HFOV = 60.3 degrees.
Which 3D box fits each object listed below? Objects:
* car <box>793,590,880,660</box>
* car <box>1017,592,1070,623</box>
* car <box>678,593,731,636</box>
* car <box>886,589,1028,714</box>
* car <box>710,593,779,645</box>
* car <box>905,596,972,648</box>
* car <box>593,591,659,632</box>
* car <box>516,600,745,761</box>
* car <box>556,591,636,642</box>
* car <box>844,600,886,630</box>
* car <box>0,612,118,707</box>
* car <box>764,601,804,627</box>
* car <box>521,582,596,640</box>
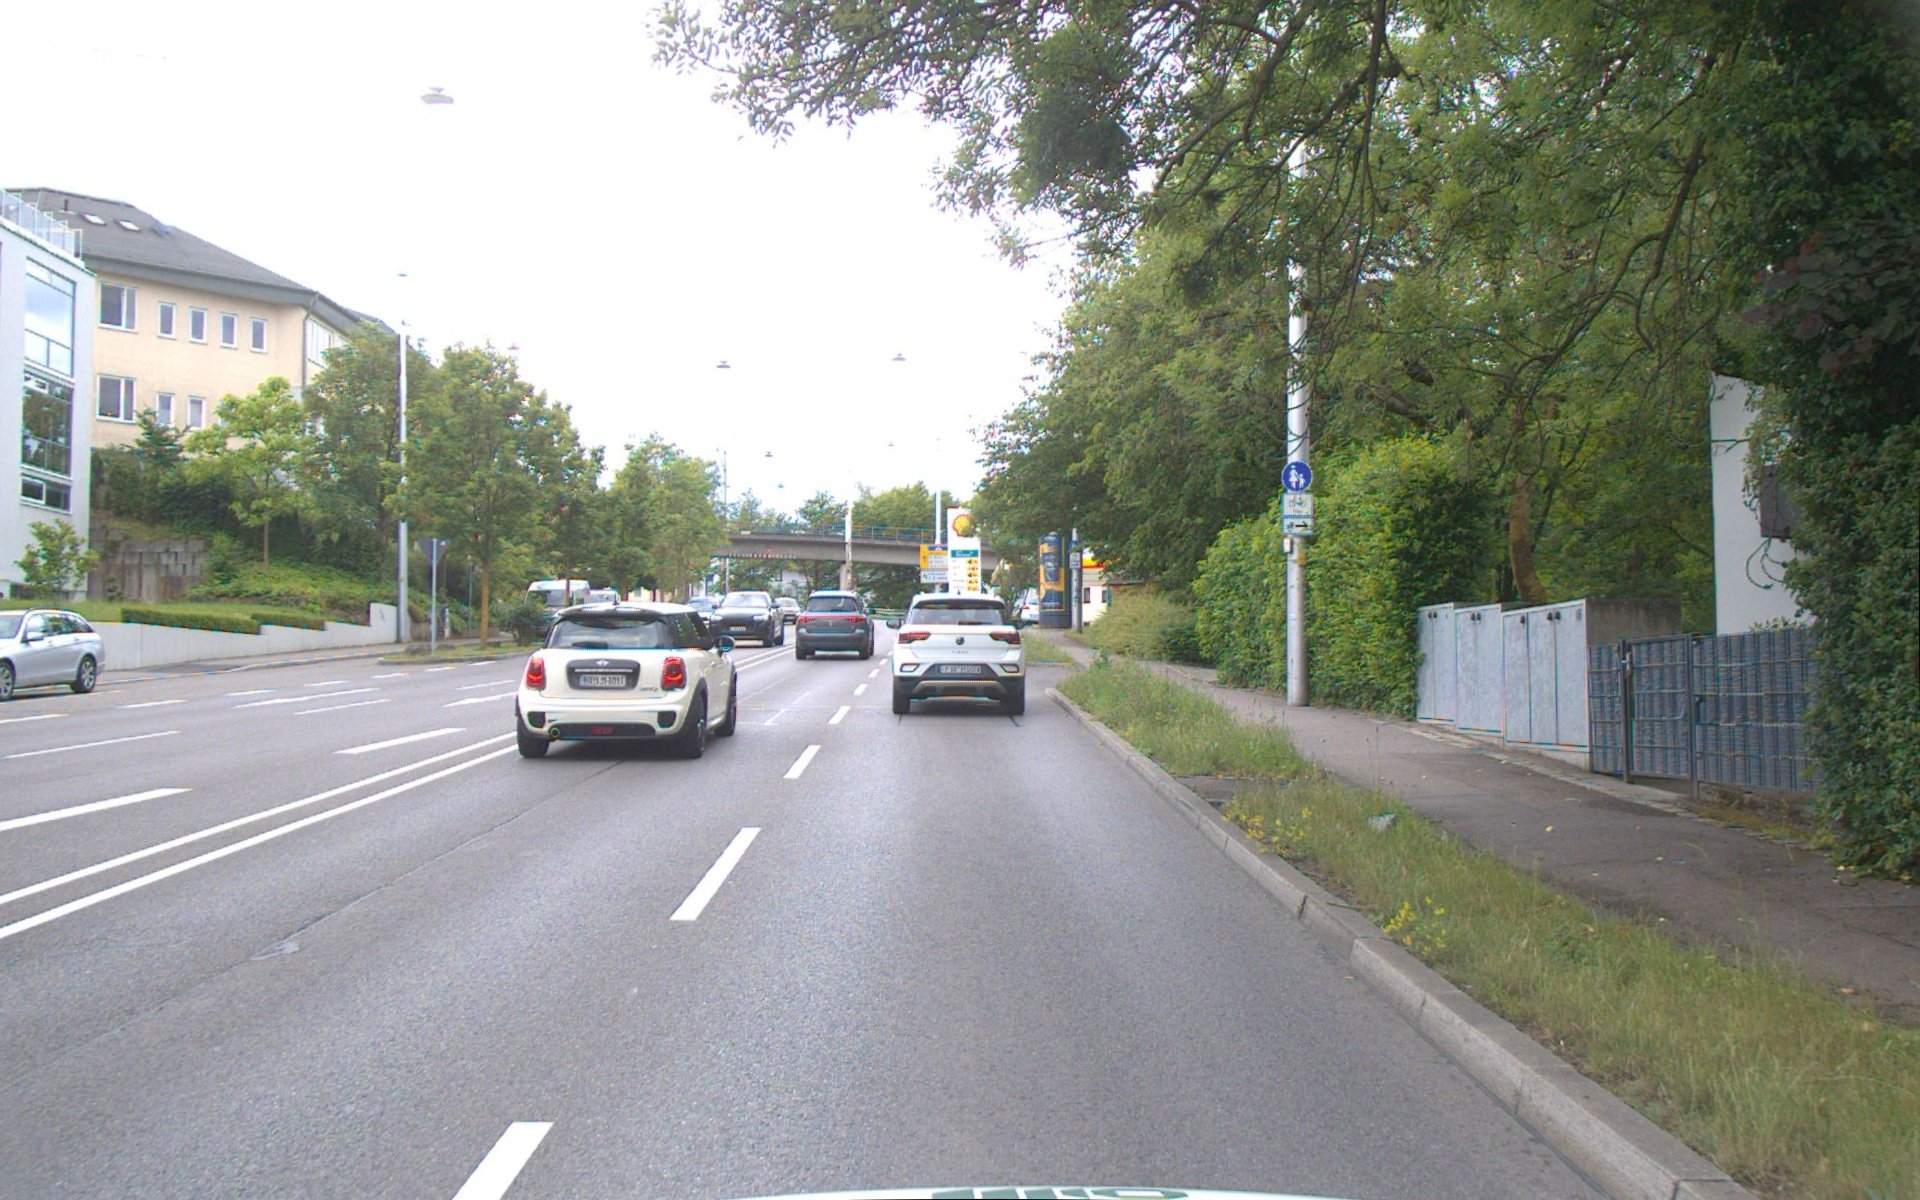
[{"bbox_3d":[-3.080,0.593,42.024,1.775,1.681,4.636,0,0,1],"label":"car"},{"bbox_3d":[4.135,0.353,81.611,1.818,1.527,4.058,0,0,15],"label":"car"},{"bbox_3d":[-9.776,0.525,63.485,1.860,1.569,4.685,0,0,-7],"label":"car"},{"bbox_3d":[-0.034,0.644,22.593,1.774,1.566,3.689,0,0,0],"label":"car"},{"bbox_3d":[-6.749,0.574,52.147,1.858,1.569,4.688,0,0,-4],"label":"car"},{"bbox_3d":[-0.753,0.725,54.381,1.836,1.527,4.550,3,-1,-5],"label":"car"},{"bbox_3d":[-13.401,0.446,66.588,2.028,1.608,4.688,0,0,-4],"label":"car"},{"bbox_3d":[-3.157,0.712,16.470,1.595,1.418,3.565,0,0,-1],"label":"car"},{"bbox_3d":[-12.548,0.537,57.233,2.028,1.685,4.688,0,0,-4],"label":"car"},{"bbox_3d":[-5.540,0.870,95.646,1.825,1.681,4.623,0,0,-11],"label":"car"},{"bbox_3d":[-15.791,0.938,27.237,1.734,1.432,4.142,0,0,0],"label":"car"},{"bbox_3d":[-10.896,0.852,102.110,1.863,1.569,4.677,0,0,-13],"label":"car"},{"bbox_3d":[-16.968,0.451,70.178,2.027,2.346,5.462,0,0,-2],"label":"car"}]
